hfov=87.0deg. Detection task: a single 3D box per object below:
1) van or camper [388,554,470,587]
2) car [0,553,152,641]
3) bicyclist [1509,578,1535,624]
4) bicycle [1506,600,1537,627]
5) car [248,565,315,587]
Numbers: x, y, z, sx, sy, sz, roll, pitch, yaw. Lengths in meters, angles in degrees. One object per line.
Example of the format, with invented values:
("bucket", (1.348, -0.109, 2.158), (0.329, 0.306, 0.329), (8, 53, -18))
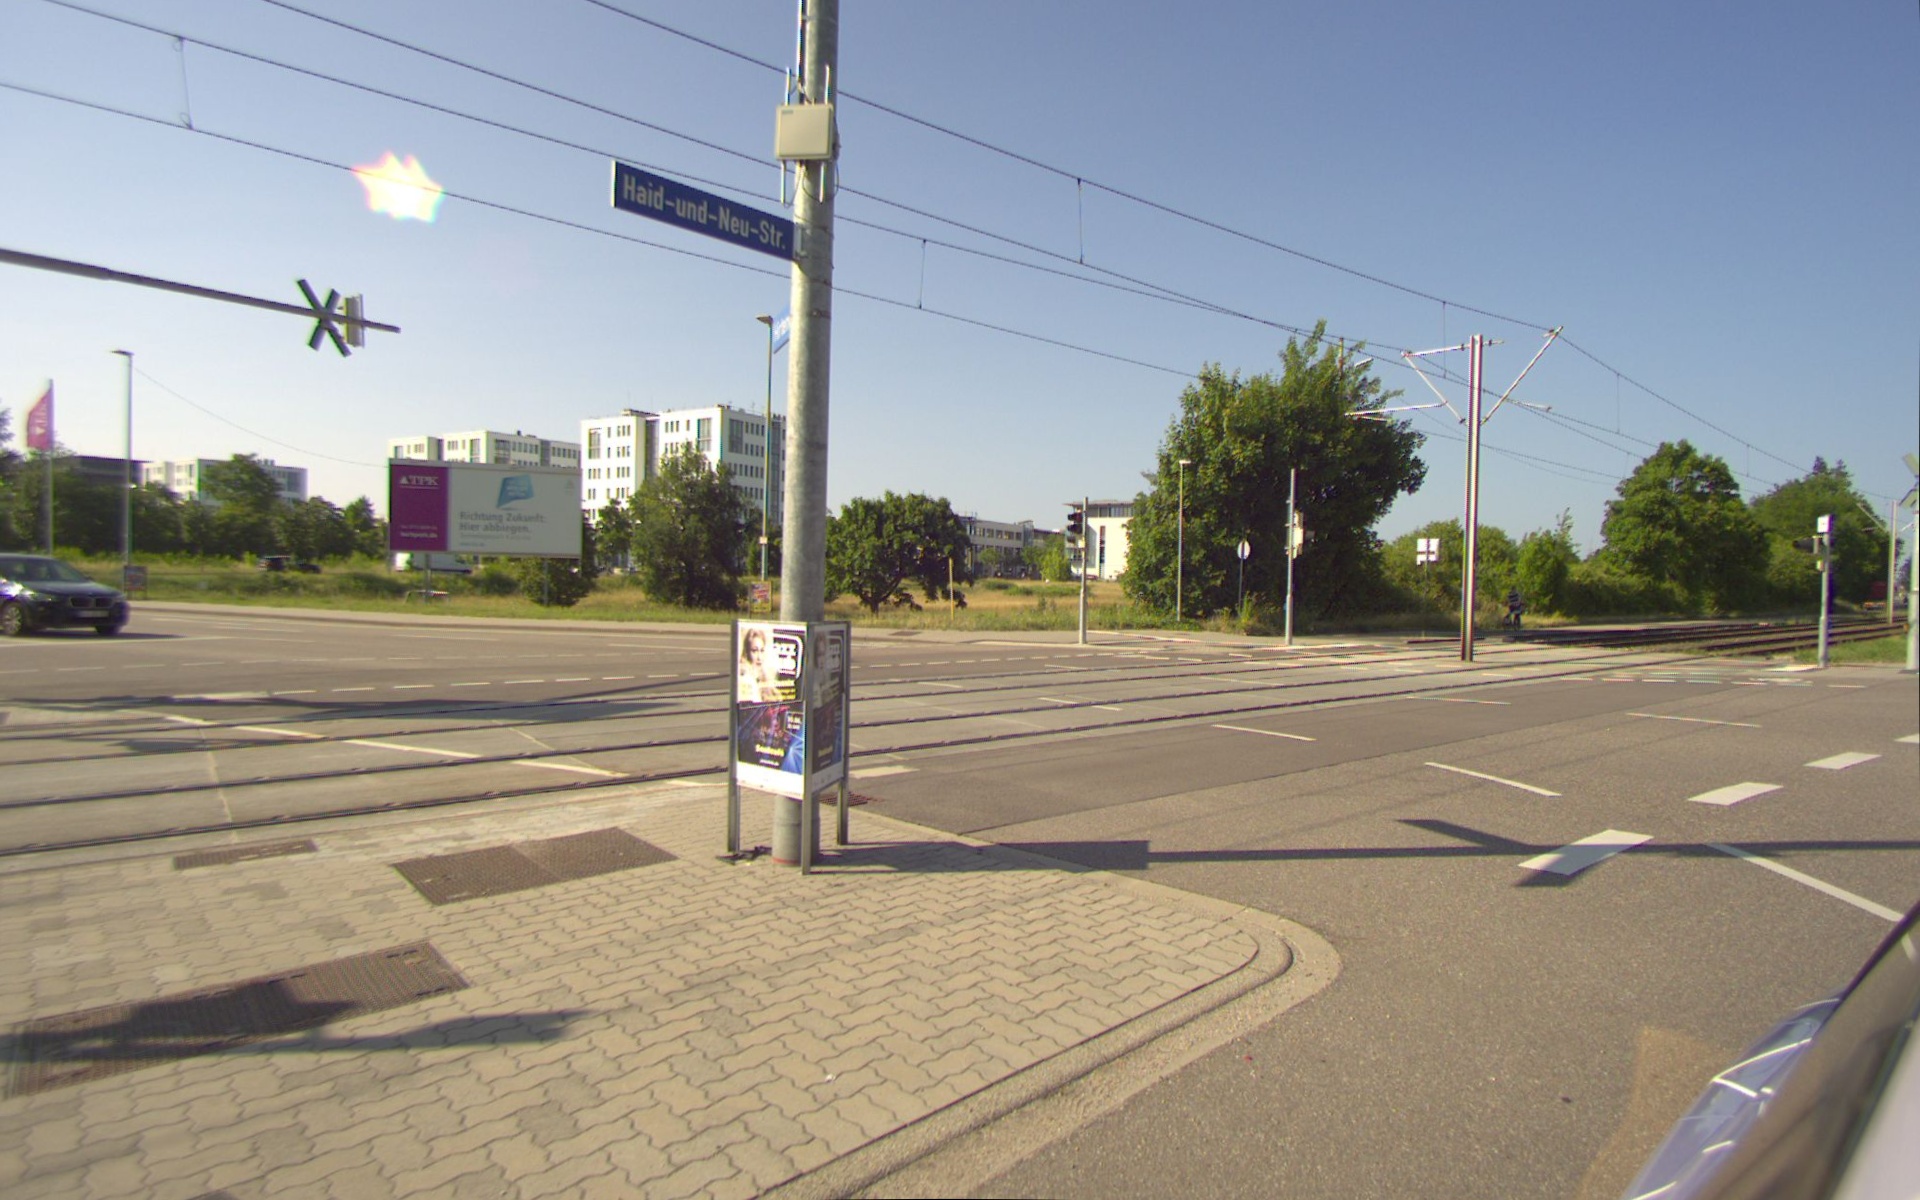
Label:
("van or camper", (-48.152, -2.660, 91.952), (2.217, 2.813, 6.684), (1, 1, 25))
("car", (-19.215, -0.137, 20.668), (4.801, 1.582, 2.032), (3, 2, 19))
("bicyclist", (22.674, 0.031, 40.837), (0.705, 1.830, 0.707), (1, 1, -43))
("bicycle", (22.691, 0.539, 40.868), (1.842, 1.060, 0.546), (0, 1, -43))
("car", (-53.722, -1.887, 80.171), (1.977, 1.616, 3.970), (2, 1, 23))
